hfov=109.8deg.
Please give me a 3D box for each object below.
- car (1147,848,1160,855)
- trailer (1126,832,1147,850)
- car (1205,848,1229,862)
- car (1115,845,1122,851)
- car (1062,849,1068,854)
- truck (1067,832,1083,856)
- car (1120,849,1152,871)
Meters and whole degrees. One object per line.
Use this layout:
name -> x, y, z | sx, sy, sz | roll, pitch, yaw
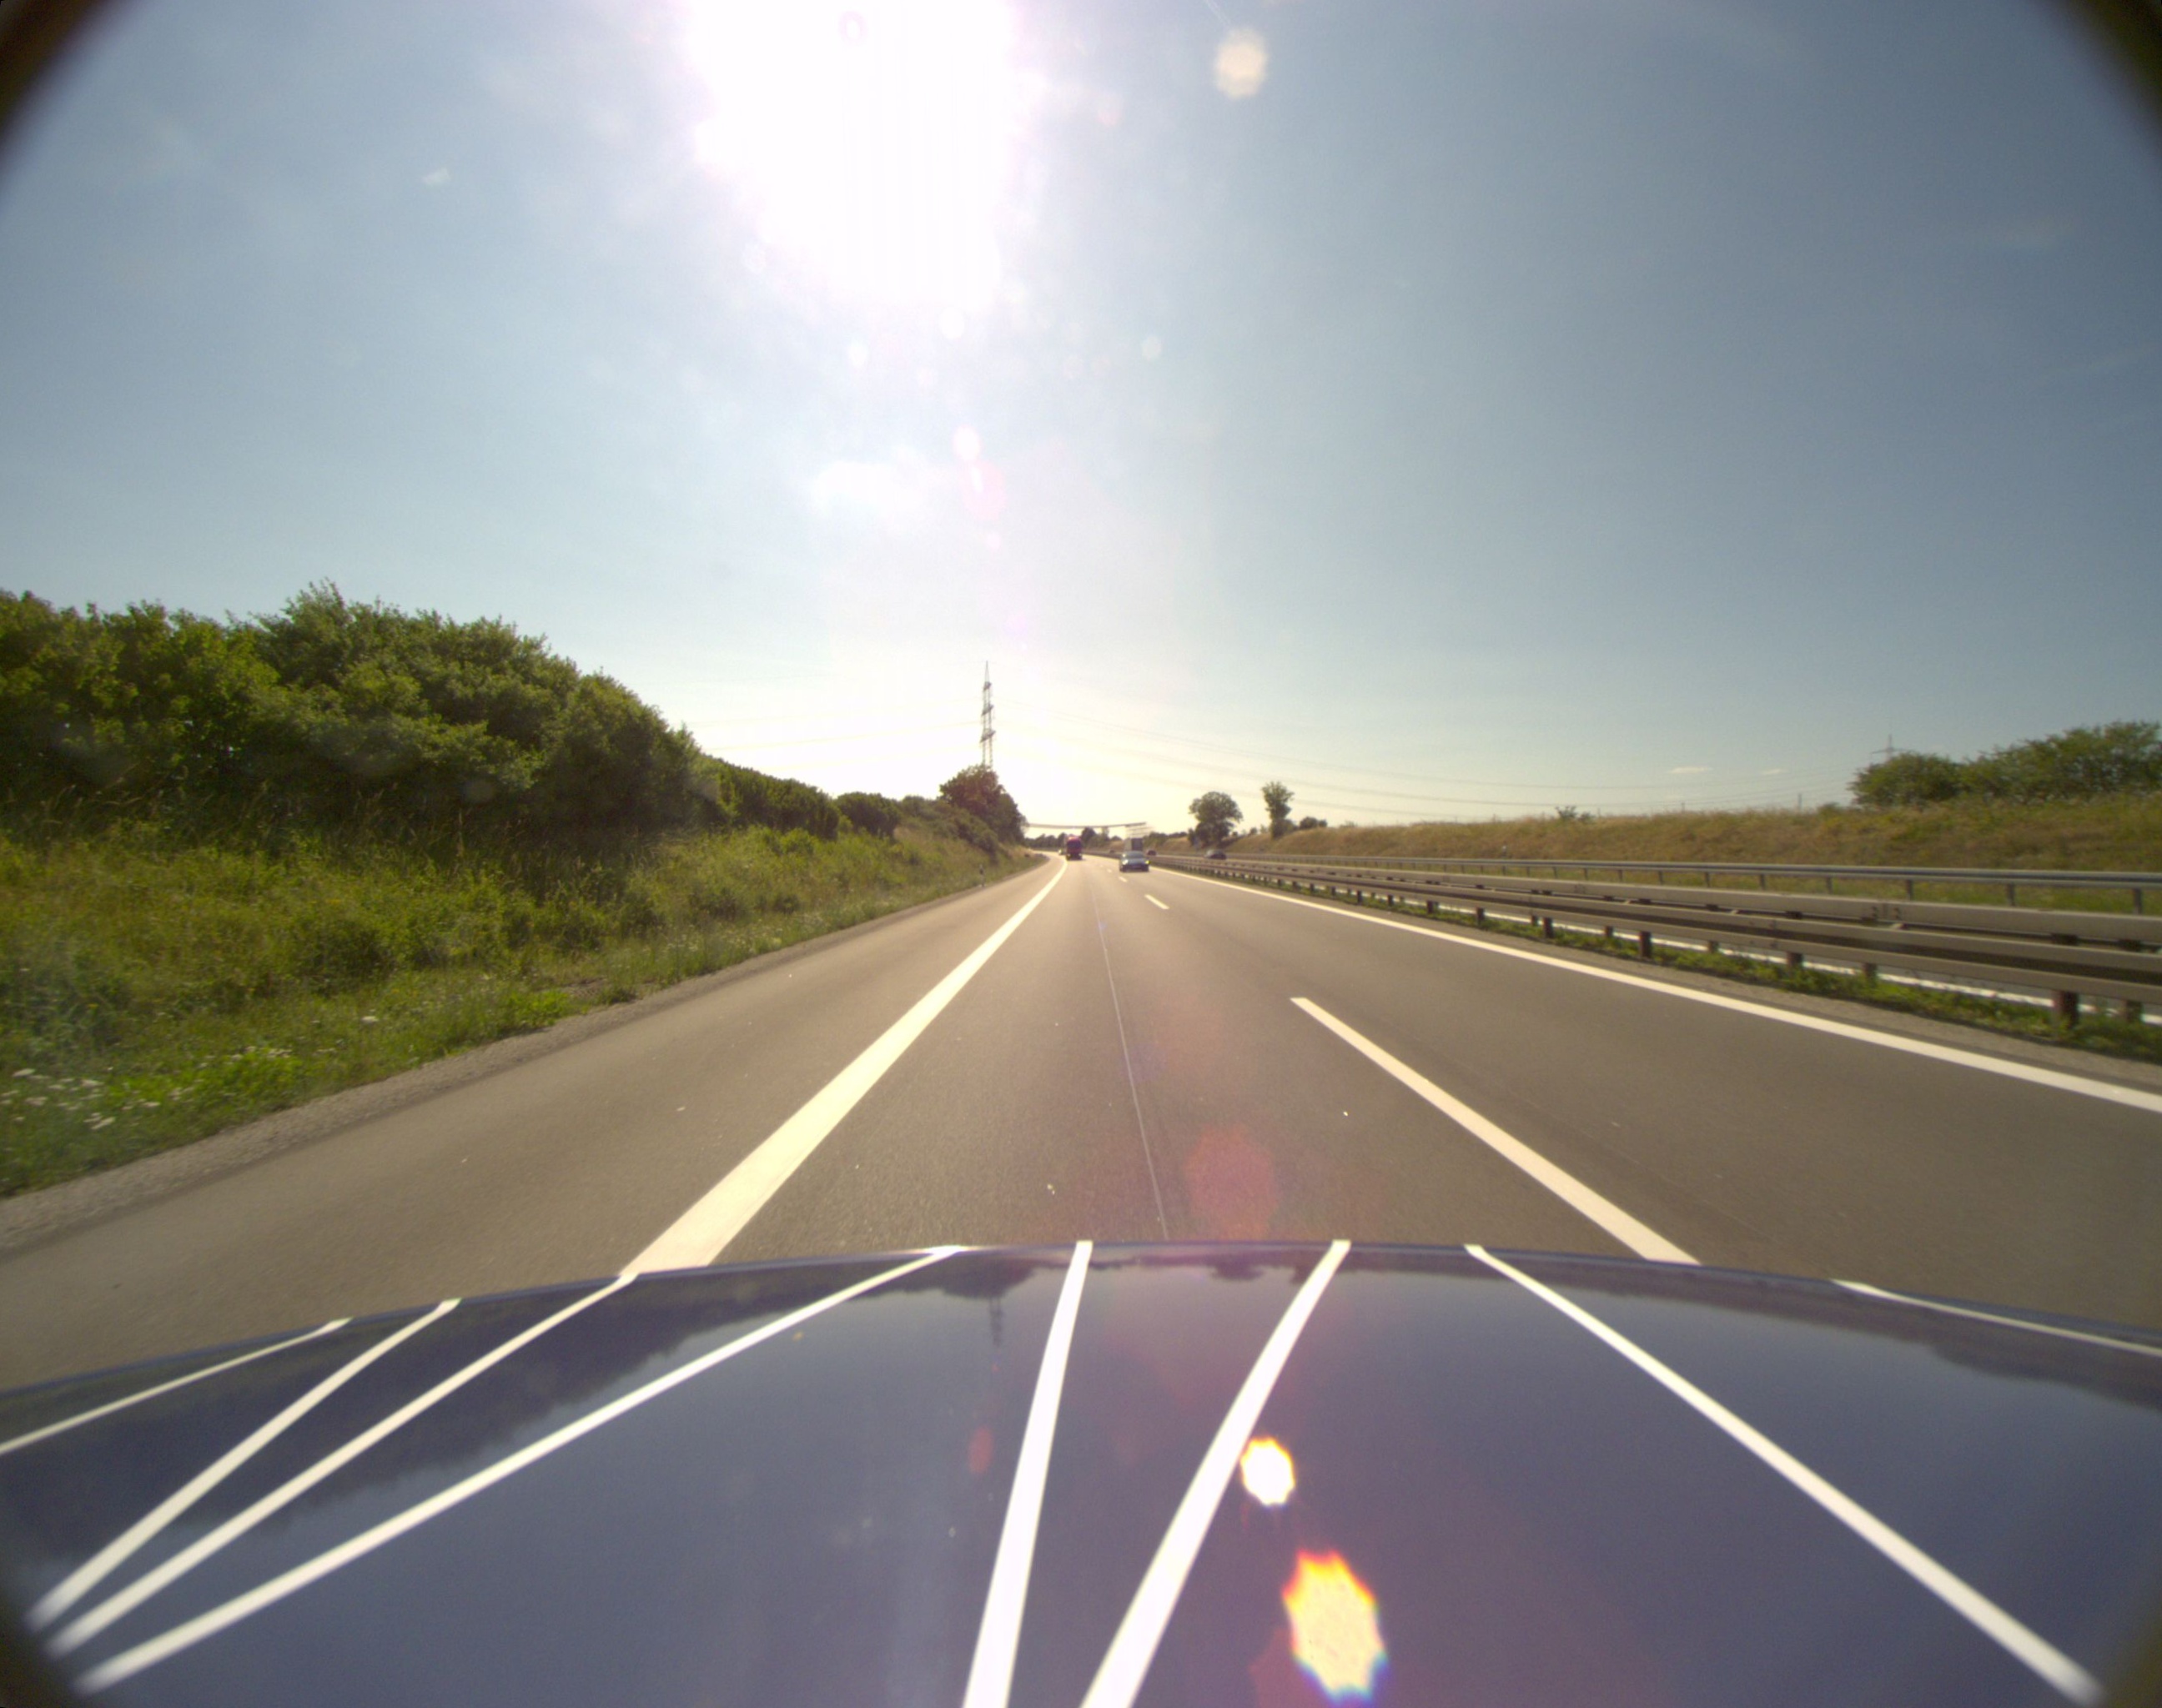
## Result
car -> 14.050, -0.560, 147.820 | 1.910, 1.352, 4.553 | -1, 1, 0
trailer -> 12.865, -3.006, 177.767 | 3.624, 3.976, 14.045 | -1, 1, 0
car -> 15.062, 0.069, 84.075 | 1.729, 1.459, 5.240 | -1, 1, 0
car -> 9.392, -1.458, 190.358 | 1.589, 1.422, 3.926 | -1, 1, 0
car -> -4.640, -0.693, 220.793 | 1.910, 1.422, 4.553 | -1, 1, 0
truck -> -1.019, -1.669, 127.340 | 2.571, 3.939, 8.642 | -1, 1, 0
car -> 3.876, 0.390, 54.230 | 1.852, 1.424, 5.865 | 1, 1, 1
